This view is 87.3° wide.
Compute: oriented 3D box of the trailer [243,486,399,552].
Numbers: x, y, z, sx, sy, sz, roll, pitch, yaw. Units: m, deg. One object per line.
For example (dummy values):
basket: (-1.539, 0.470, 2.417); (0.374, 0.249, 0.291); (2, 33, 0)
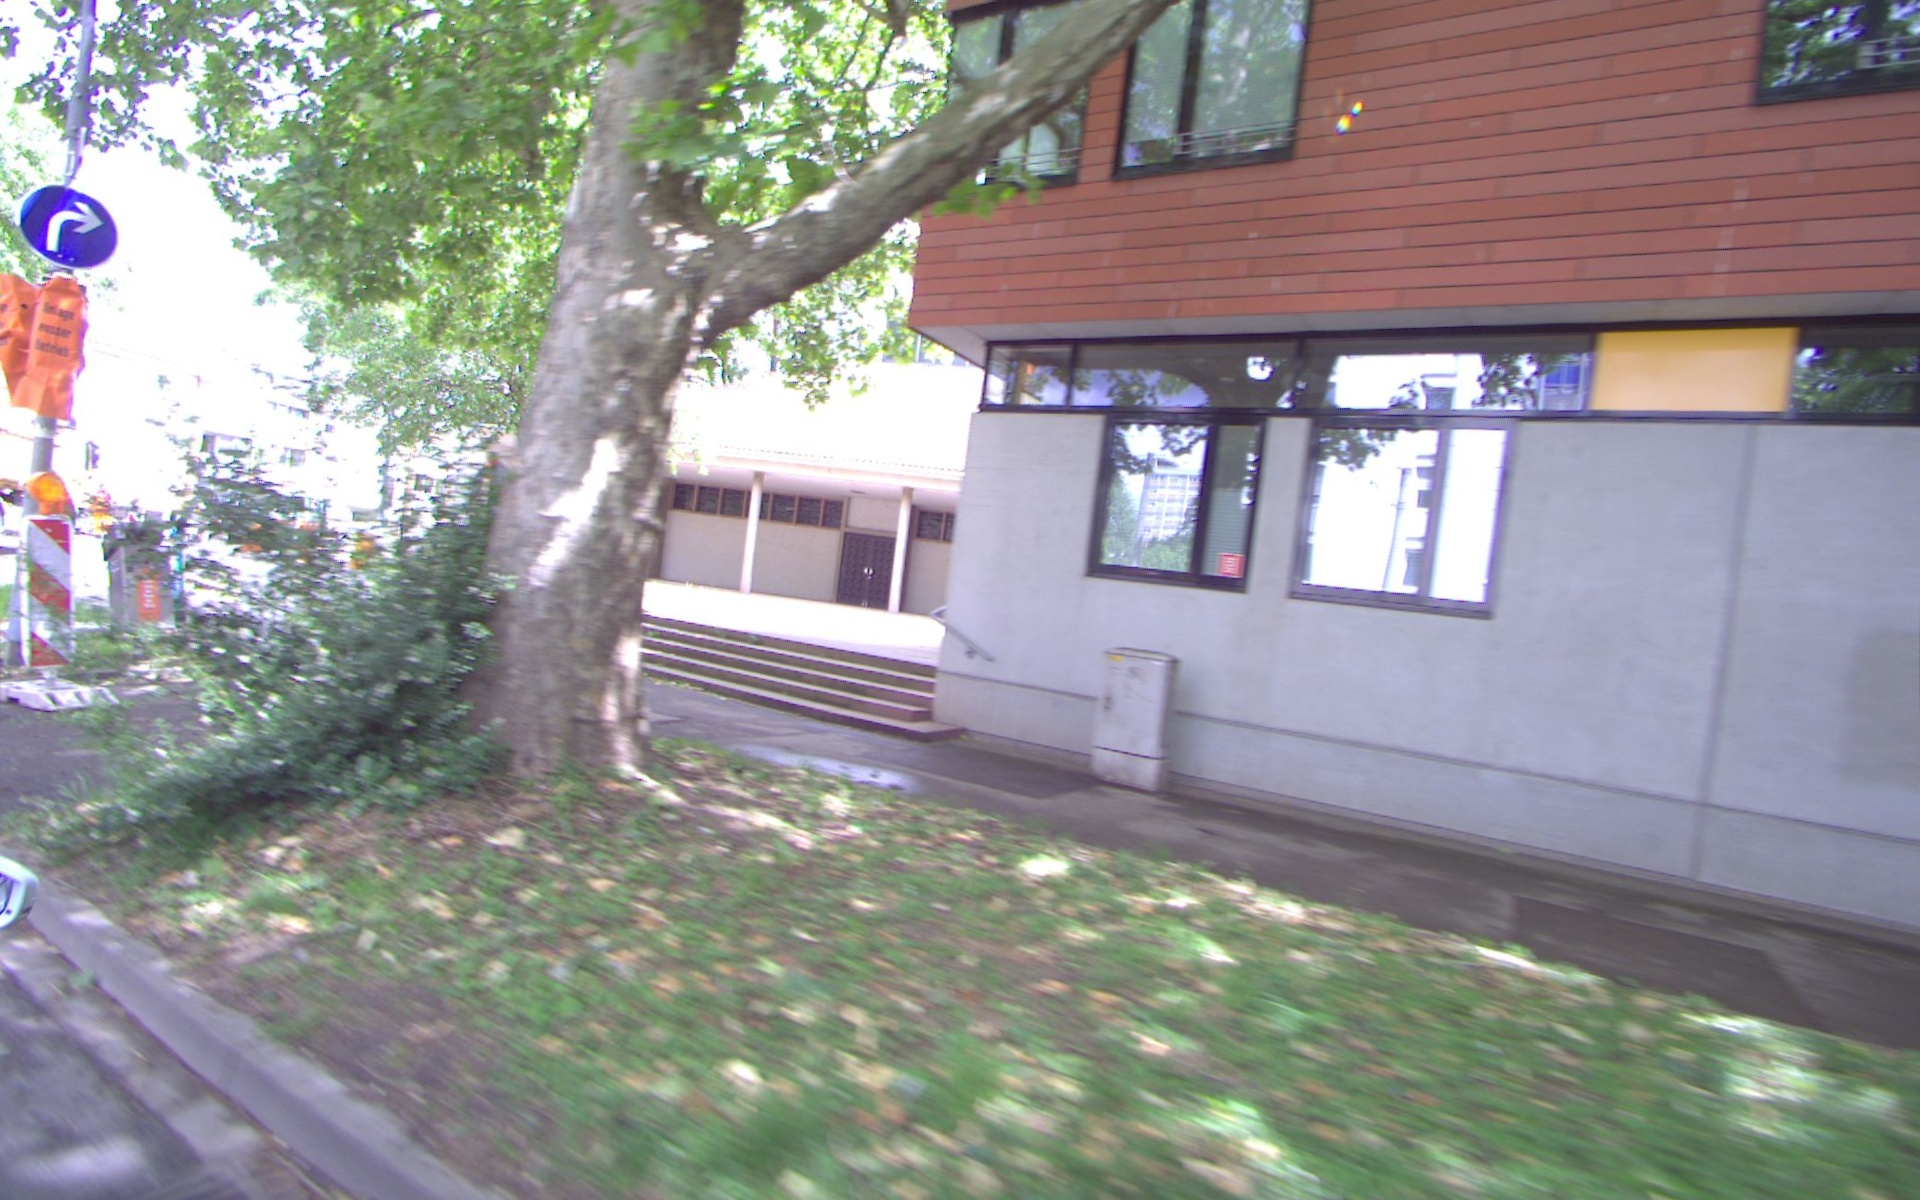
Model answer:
trailer: (-27.758, -3.453, 44.082); (2.621, 2.243, 6.241); (8, 2, 1)

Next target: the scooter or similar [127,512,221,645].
scooter or similar: (-8.177, -0.234, 10.450); (0.562, 1.248, 1.179); (6, 2, -45)

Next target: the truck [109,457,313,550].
truck: (-27.814, -3.481, 37.795); (2.621, 2.761, 6.388); (8, 2, 1)

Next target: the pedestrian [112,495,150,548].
pedestrian: (-26.772, -2.552, 32.504); (0.758, 1.570, 0.891); (8, 2, -36)

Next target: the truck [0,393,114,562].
truck: (-20.214, -2.581, 19.886); (2.890, 3.205, 7.636); (8, 0, -23)
